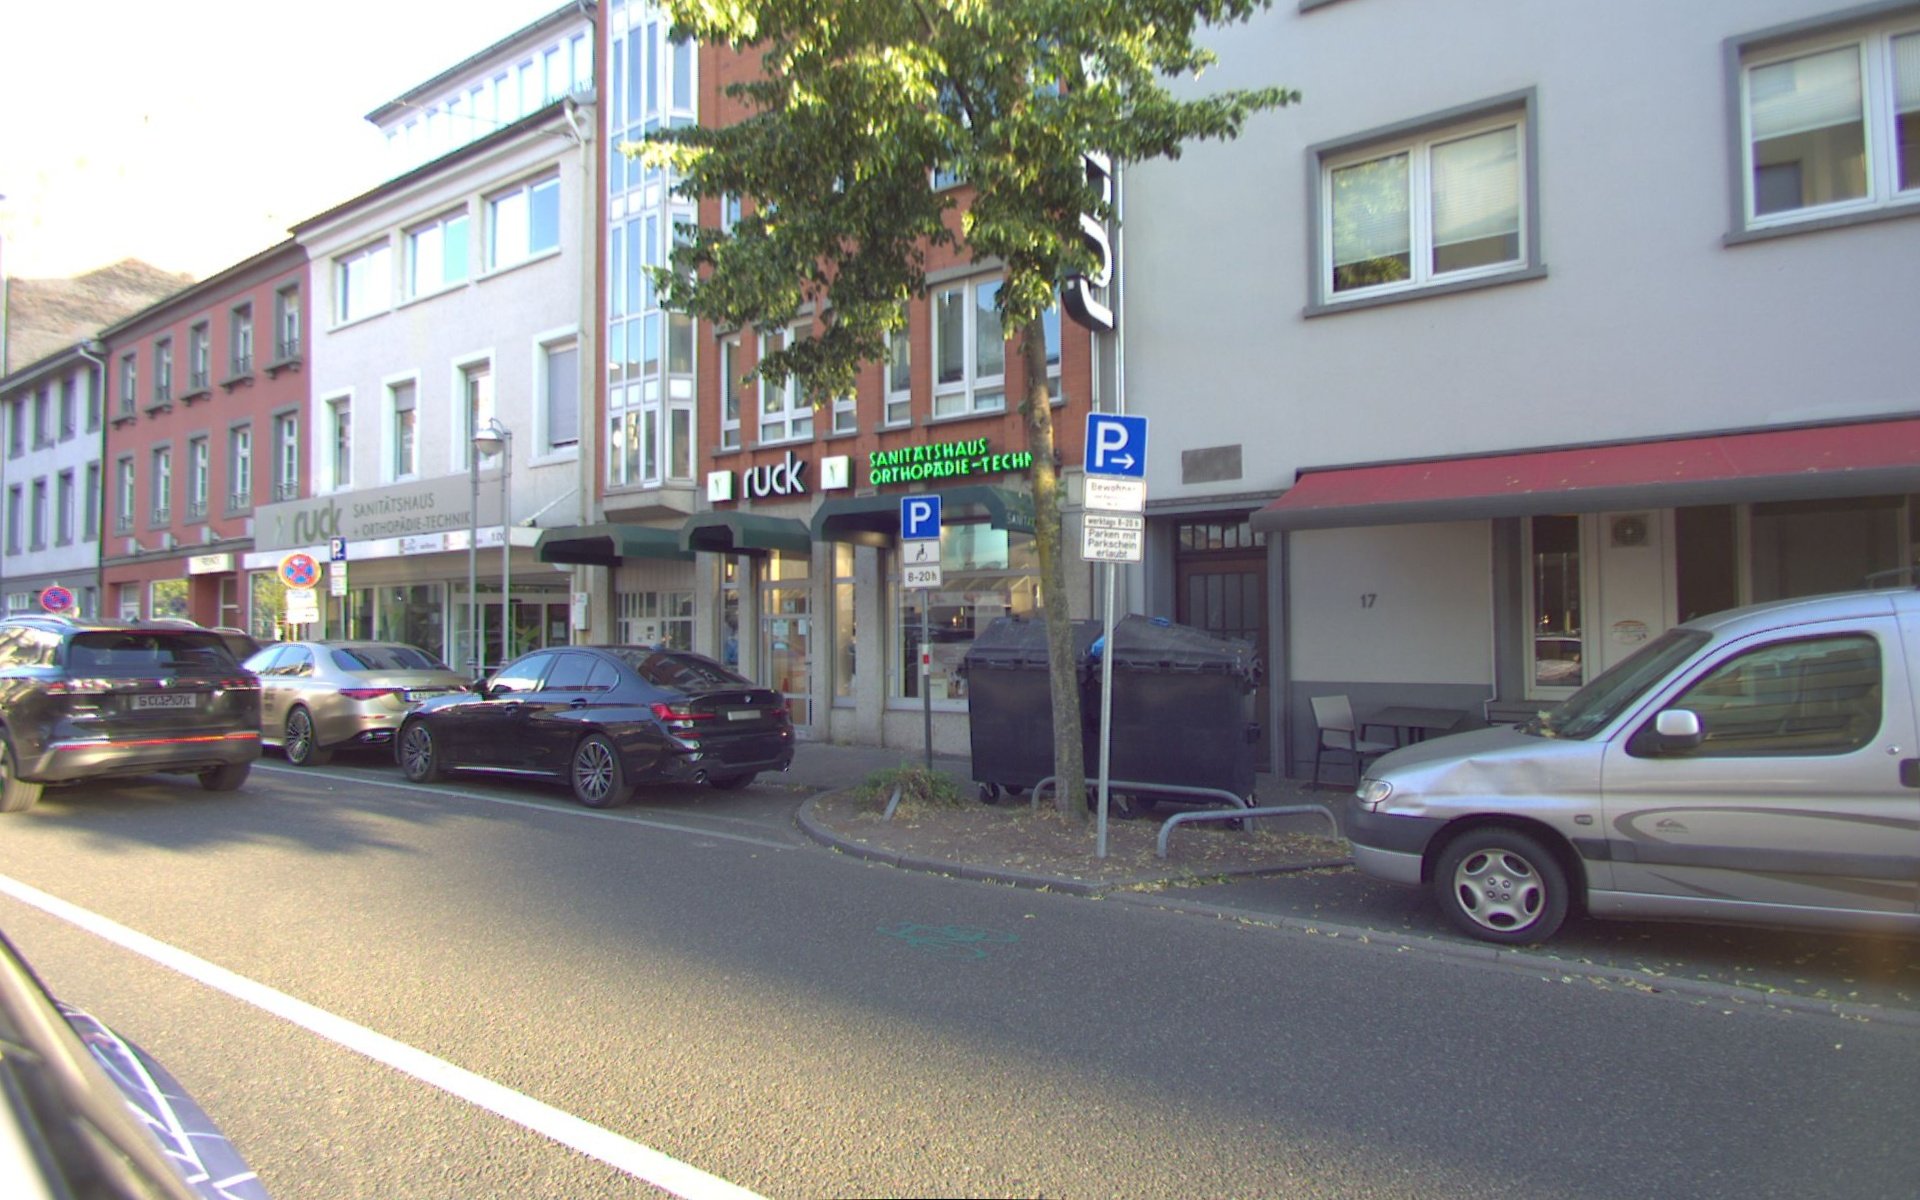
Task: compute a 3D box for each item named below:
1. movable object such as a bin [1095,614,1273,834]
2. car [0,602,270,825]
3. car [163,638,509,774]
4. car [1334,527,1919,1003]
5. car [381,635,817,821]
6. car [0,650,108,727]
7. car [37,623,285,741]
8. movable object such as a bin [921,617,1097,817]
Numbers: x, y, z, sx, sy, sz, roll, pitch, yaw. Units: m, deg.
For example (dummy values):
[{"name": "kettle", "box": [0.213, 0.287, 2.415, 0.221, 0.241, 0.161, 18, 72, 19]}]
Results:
[{"name": "movable object such as a bin", "box": [1.819, 0.947, 8.207, 1.203, 1.632, 0.775, -2, 0, 30]}, {"name": "car", "box": [-8.514, 0.977, 9.586, 4.283, 1.688, 1.716, -2, -5, 33]}, {"name": "car", "box": [-8.338, 1.301, 13.361, 5.094, 1.484, 1.977, -2, -4, 34]}, {"name": "car", "box": [4.080, 0.707, 4.892, 4.038, 1.902, 1.657, -1, -4, 31]}, {"name": "car", "box": [-3.706, 1.148, 10.103, 4.528, 1.484, 1.706, -2, -5, 33]}, {"name": "car", "box": [-19.323, 1.775, 20.728, 4.001, 1.449, 1.688, -2, -5, 32]}, {"name": "car", "box": [-13.860, 1.372, 17.474, 4.921, 1.793, 1.708, -2, -4, 31]}, {"name": "movable object such as a bin", "box": [0.439, 0.987, 9.018, 1.331, 1.632, 0.775, -2, -1, 30]}]
